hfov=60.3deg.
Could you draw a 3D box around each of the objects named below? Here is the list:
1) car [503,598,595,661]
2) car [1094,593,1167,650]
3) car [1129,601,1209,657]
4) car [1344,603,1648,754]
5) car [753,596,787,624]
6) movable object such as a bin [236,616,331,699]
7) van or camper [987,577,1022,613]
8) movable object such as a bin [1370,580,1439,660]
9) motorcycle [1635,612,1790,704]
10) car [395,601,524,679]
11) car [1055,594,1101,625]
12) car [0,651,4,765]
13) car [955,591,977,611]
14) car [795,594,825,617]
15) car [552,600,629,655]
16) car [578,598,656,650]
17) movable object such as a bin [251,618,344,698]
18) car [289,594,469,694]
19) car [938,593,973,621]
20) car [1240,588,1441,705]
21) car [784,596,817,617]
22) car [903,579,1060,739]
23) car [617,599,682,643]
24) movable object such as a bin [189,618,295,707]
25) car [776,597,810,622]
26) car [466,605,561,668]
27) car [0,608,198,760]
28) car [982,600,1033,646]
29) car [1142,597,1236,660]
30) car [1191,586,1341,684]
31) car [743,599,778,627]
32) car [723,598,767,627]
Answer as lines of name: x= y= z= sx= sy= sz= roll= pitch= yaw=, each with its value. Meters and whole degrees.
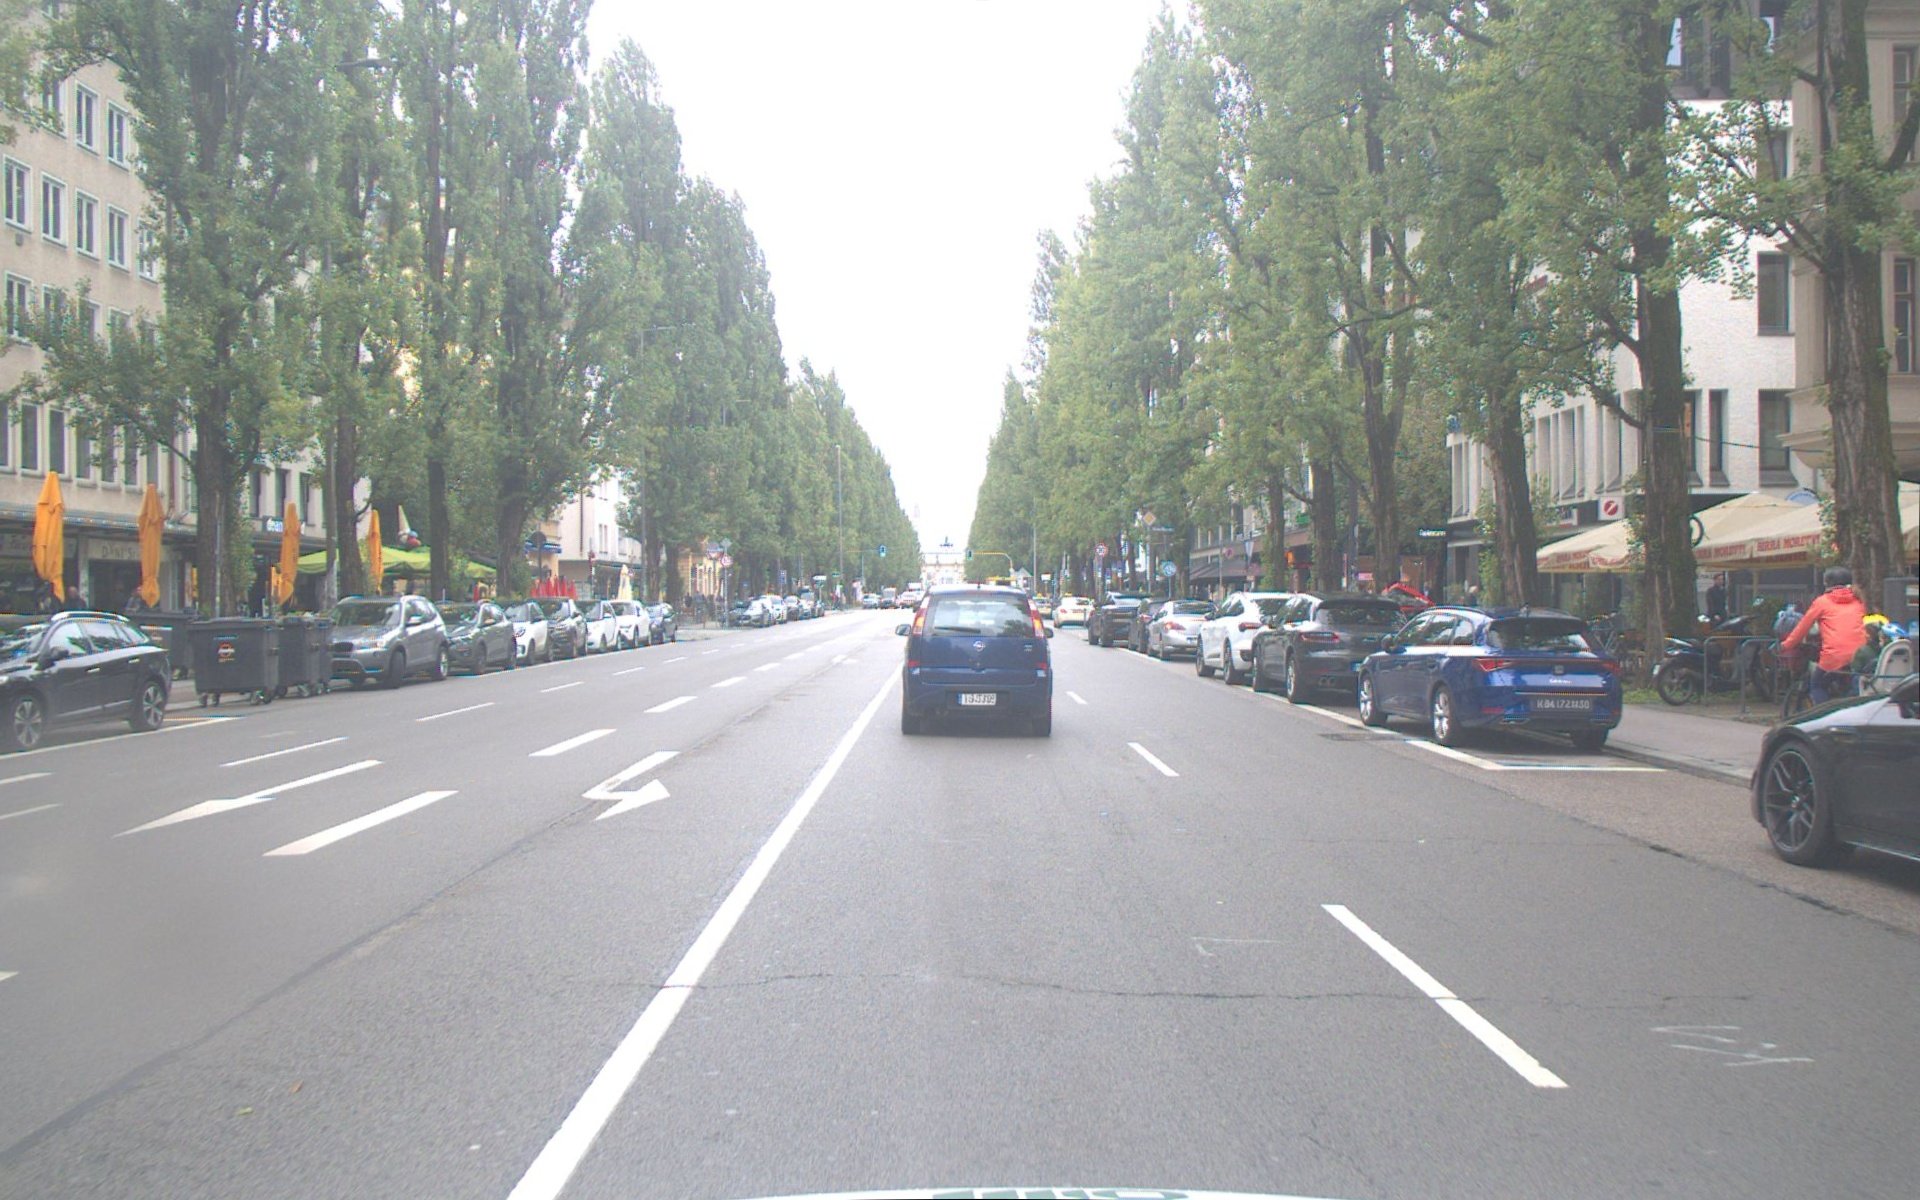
car: x=-11.081 y=0.757 z=44.832 sx=1.805 sy=1.592 sz=4.174 roll=-1 pitch=0 yaw=-6
car: x=5.192 y=0.624 z=50.832 sx=1.761 sy=1.621 sz=4.104 roll=1 pitch=0 yaw=0
car: x=5.677 y=0.768 z=45.238 sx=1.647 sy=1.439 sz=3.582 roll=1 pitch=0 yaw=-1
car: x=5.758 y=0.767 z=18.391 sx=1.715 sy=1.430 sz=4.461 roll=-1 pitch=0 yaw=-3
car: x=-11.101 y=0.571 z=96.806 sx=1.620 sy=1.589 sz=3.457 roll=-1 pitch=0 yaw=-1
movable object such as a bin: x=-11.330 y=0.955 z=27.731 sx=1.234 sy=1.340 sz=0.825 roll=-1 pitch=0 yaw=-2
van or camper: x=3.279 y=-0.362 z=123.186 sx=2.426 sy=2.626 sz=5.844 roll=-1 pitch=0 yaw=0
movable object such as a bin: x=9.865 y=0.438 z=36.778 sx=1.012 sy=1.733 sz=1.585 roll=-1 pitch=0 yaw=-4
motorcycle: x=10.154 y=0.771 z=22.339 sx=1.794 sy=1.200 sz=0.695 roll=-1 pitch=0 yaw=-7
car: x=-10.863 y=0.820 z=36.140 sx=1.663 sy=1.577 sz=4.081 roll=-1 pitch=0 yaw=-2
car: x=5.518 y=0.427 z=77.757 sx=1.858 sy=1.386 sz=3.899 roll=-1 pitch=0 yaw=0
car: x=-10.431 y=0.890 z=14.441 sx=1.746 sy=1.603 sz=4.132 roll=-2 pitch=0 yaw=-1
car: x=0.548 y=0.088 z=148.248 sx=1.922 sy=1.706 sz=3.778 roll=-1 pitch=0 yaw=-1
car: x=-11.373 y=0.416 z=125.499 sx=1.953 sy=1.691 sz=3.999 roll=-1 pitch=0 yaw=-1
car: x=-10.990 y=0.797 z=49.308 sx=1.540 sy=1.561 sz=2.923 roll=-1 pitch=0 yaw=2
car: x=-10.973 y=0.749 z=53.221 sx=1.798 sy=1.573 sz=4.084 roll=-1 pitch=0 yaw=-2
movable object such as a bin: x=-11.434 y=0.986 z=28.573 sx=1.287 sy=1.340 sz=0.819 roll=-1 pitch=0 yaw=-2
car: x=-10.931 y=0.772 z=31.461 sx=1.827 sy=1.683 sz=4.614 roll=-3 pitch=0 yaw=-2
car: x=-0.279 y=0.384 z=95.771 sx=1.953 sy=1.524 sz=3.999 roll=-1 pitch=0 yaw=-1
car: x=5.686 y=0.642 z=25.301 sx=1.953 sy=1.592 sz=4.482 roll=-1 pitch=0 yaw=-1
car: x=-11.070 y=0.414 z=114.937 sx=1.922 sy=1.424 sz=3.778 roll=-1 pitch=0 yaw=-1
car: x=0.181 y=0.609 z=19.355 sx=1.647 sy=1.670 sz=3.999 roll=0 pitch=0 yaw=-1
car: x=-10.955 y=0.713 z=58.542 sx=1.553 sy=1.472 sz=3.391 roll=-1 pitch=0 yaw=2
movable object such as a bin: x=-11.168 y=0.955 z=25.757 sx=1.251 sy=1.333 sz=0.901 roll=-1 pitch=0 yaw=-1
car: x=-10.943 y=0.614 z=108.736 sx=1.922 sy=1.557 sz=3.999 roll=-1 pitch=0 yaw=-2
car: x=-11.016 y=0.873 z=40.950 sx=1.598 sy=1.453 sz=2.982 roll=-1 pitch=0 yaw=-2
car: x=-10.743 y=0.918 z=19.295 sx=1.629 sy=1.530 sz=4.313 roll=-3 pitch=0 yaw=0
car: x=1.705 y=0.815 z=60.528 sx=1.671 sy=1.601 sz=3.999 roll=1 pitch=0 yaw=-1
car: x=5.596 y=0.670 z=40.833 sx=1.636 sy=1.431 sz=4.126 roll=1 pitch=0 yaw=-1
car: x=5.529 y=0.584 z=30.458 sx=1.790 sy=1.649 sz=4.746 roll=1 pitch=0 yaw=-1
car: x=-11.075 y=0.706 z=91.944 sx=1.515 sy=1.478 sz=3.457 roll=-1 pitch=0 yaw=-1
car: x=-11.137 y=0.626 z=85.803 sx=1.793 sy=1.445 sz=3.810 roll=-1 pitch=0 yaw=-1
